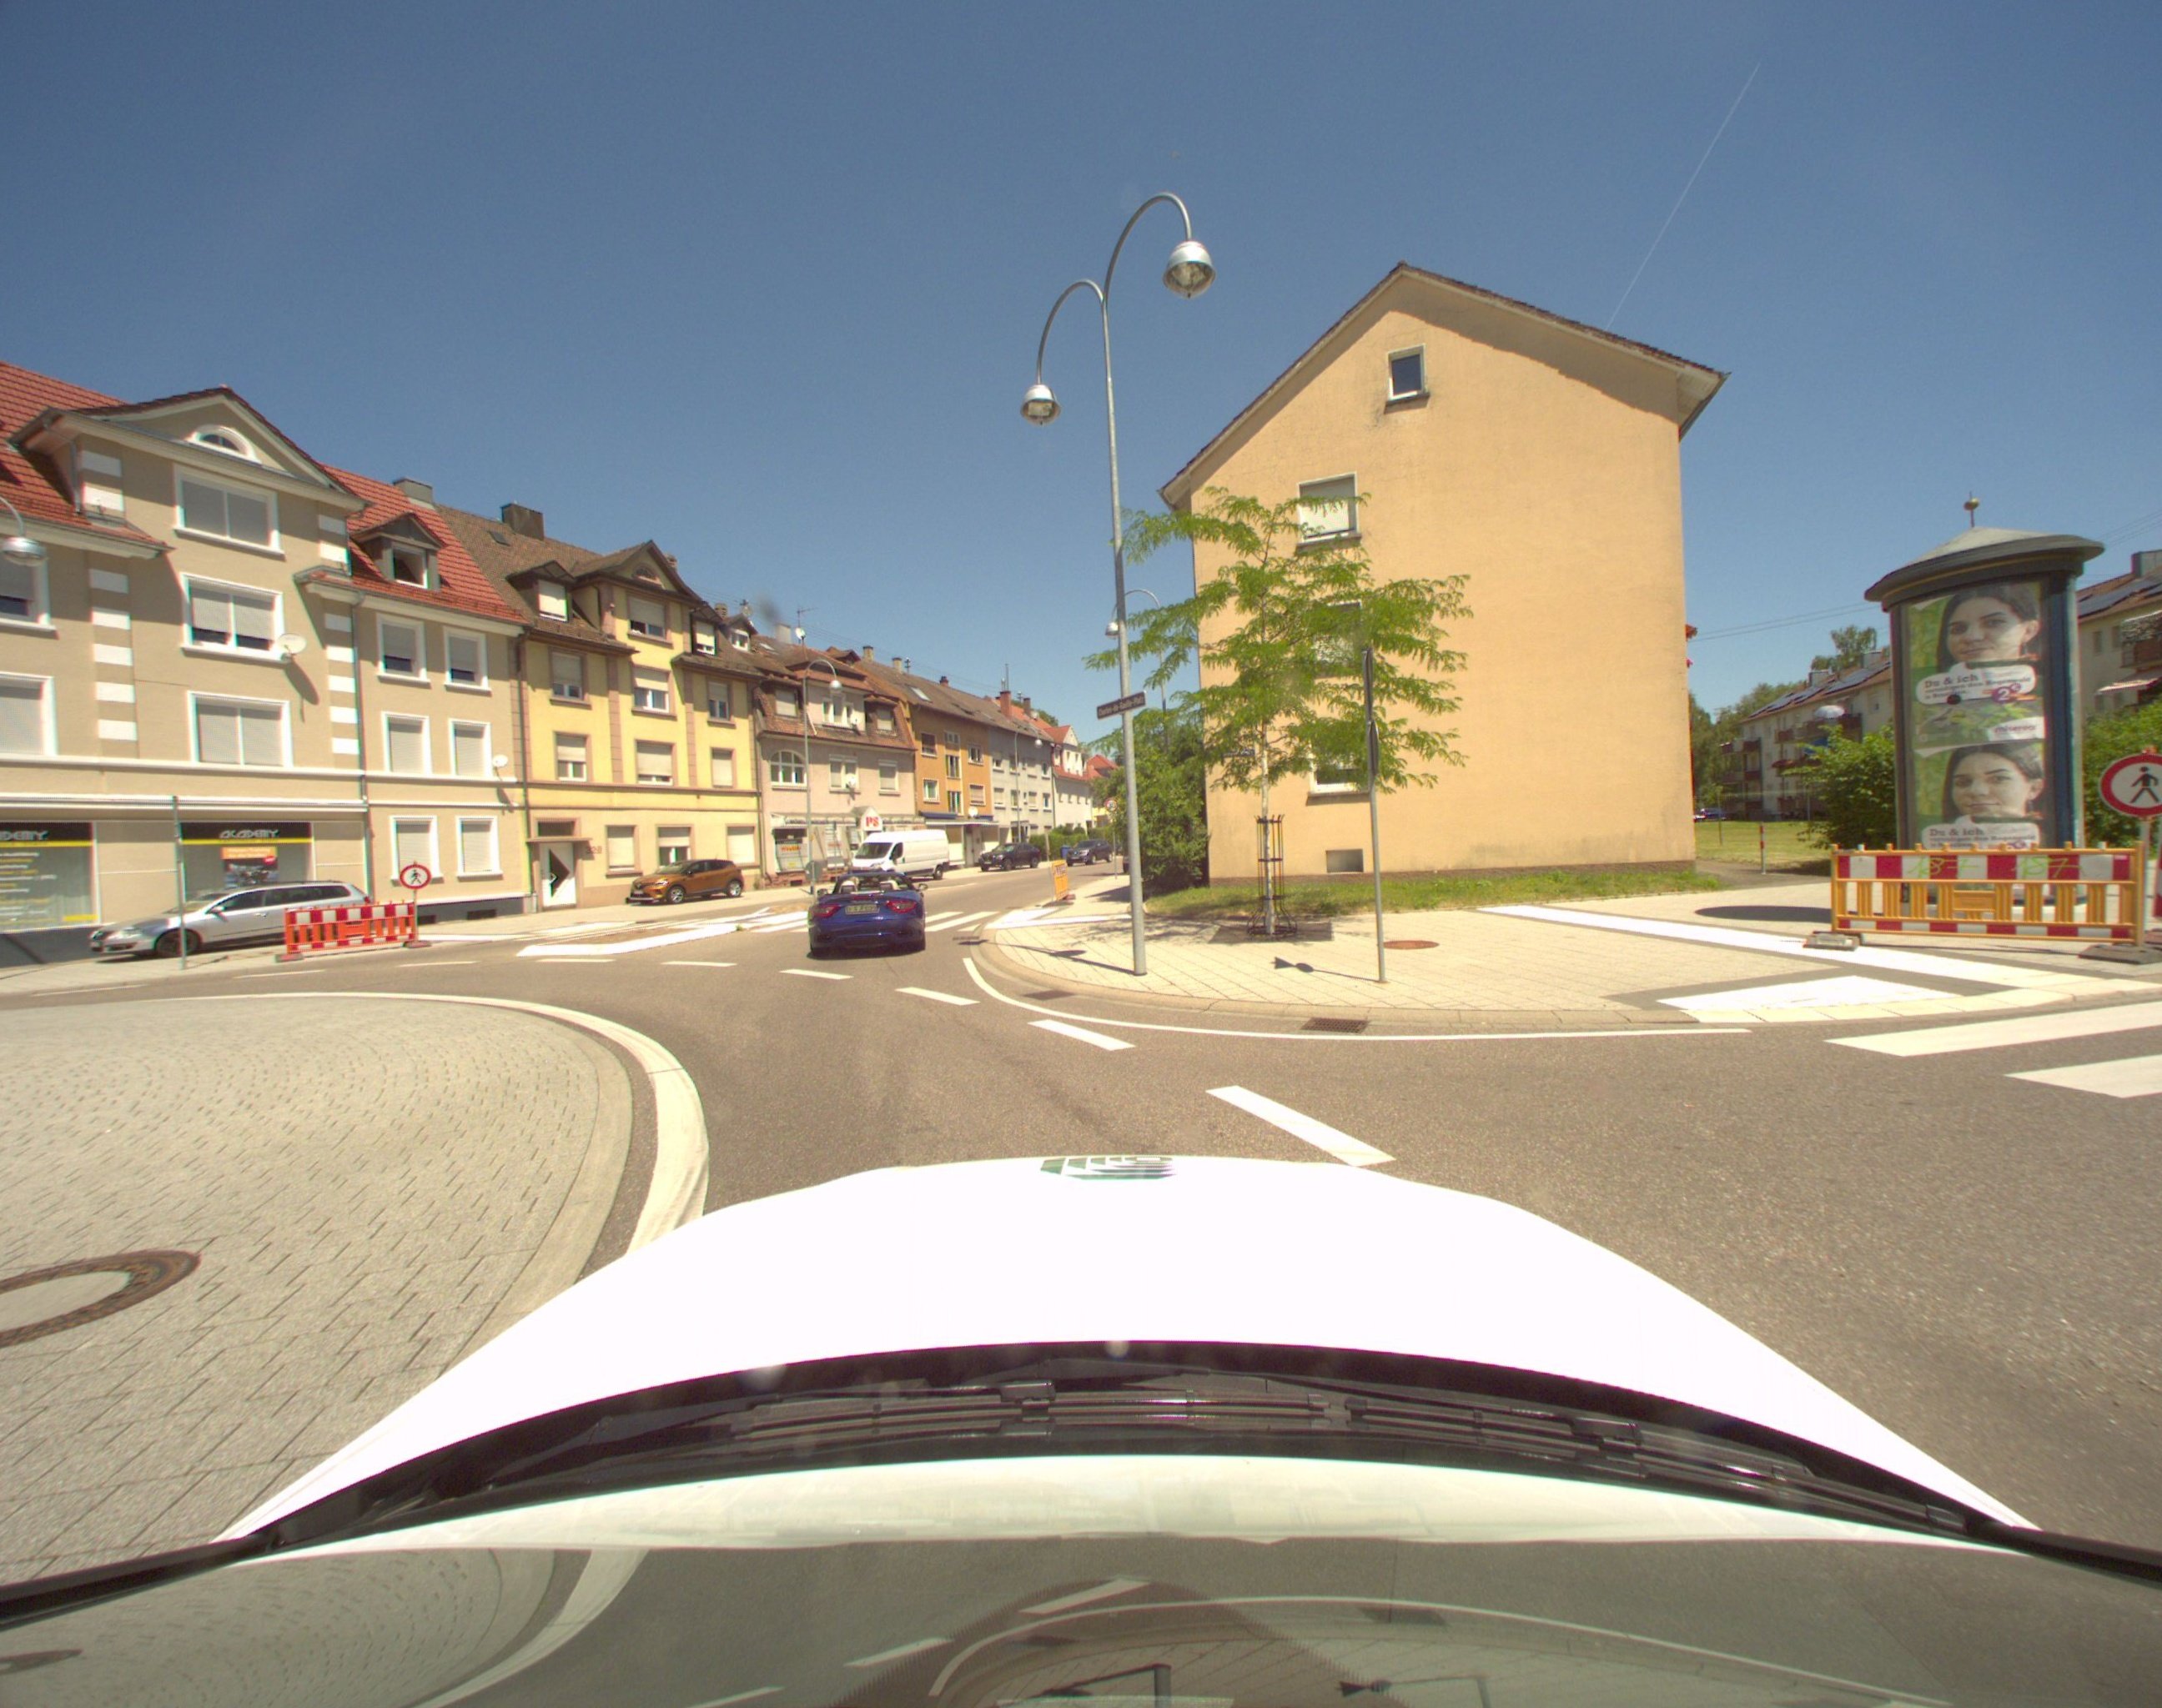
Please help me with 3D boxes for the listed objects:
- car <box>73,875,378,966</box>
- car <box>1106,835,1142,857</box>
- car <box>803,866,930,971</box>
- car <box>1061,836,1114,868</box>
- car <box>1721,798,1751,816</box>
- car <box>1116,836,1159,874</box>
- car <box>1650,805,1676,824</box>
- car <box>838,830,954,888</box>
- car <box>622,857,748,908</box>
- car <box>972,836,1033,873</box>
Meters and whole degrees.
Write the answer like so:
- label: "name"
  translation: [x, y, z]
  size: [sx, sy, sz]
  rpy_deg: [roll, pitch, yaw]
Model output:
- label: "car"
  translation: [-20.440, 1.500, 19.781]
  size: [1.759, 1.685, 4.722]
  rpy_deg: [-2, 1, 24]
- label: "car"
  translation: [3.652, -0.702, 68.173]
  size: [1.826, 1.706, 3.822]
  rpy_deg: [-3, 0, 20]
- label: "car"
  translation: [-3.813, 1.085, 15.046]
  size: [1.872, 1.530, 4.488]
  rpy_deg: [-3, -2, -12]
- label: "car"
  translation: [0.458, -0.161, 51.412]
  size: [1.977, 1.814, 4.234]
  rpy_deg: [-5, 0, 19]
- label: "car"
  translation: [57.950, -4.137, 72.072]
  size: [1.721, 1.436, 3.735]
  rpy_deg: [-4, -1, 35]
- label: "car"
  translation: [2.792, 0.015, 39.659]
  size: [1.869, 1.631, 3.599]
  rpy_deg: [-2, 2, 7]
- label: "car"
  translation: [51.194, -3.470, 71.631]
  size: [1.721, 1.436, 3.735]
  rpy_deg: [-4, -1, 35]
- label: "car"
  translation: [-8.708, 0.146, 39.074]
  size: [2.126, 2.532, 6.272]
  rpy_deg: [-1, 1, 22]
- label: "car"
  translation: [-14.726, 1.015, 30.519]
  size: [1.584, 1.616, 4.115]
  rpy_deg: [0, 2, 25]
- label: "car"
  translation: [-4.644, 0.009, 48.947]
  size: [2.050, 2.013, 4.020]
  rpy_deg: [-3, 0, 19]
